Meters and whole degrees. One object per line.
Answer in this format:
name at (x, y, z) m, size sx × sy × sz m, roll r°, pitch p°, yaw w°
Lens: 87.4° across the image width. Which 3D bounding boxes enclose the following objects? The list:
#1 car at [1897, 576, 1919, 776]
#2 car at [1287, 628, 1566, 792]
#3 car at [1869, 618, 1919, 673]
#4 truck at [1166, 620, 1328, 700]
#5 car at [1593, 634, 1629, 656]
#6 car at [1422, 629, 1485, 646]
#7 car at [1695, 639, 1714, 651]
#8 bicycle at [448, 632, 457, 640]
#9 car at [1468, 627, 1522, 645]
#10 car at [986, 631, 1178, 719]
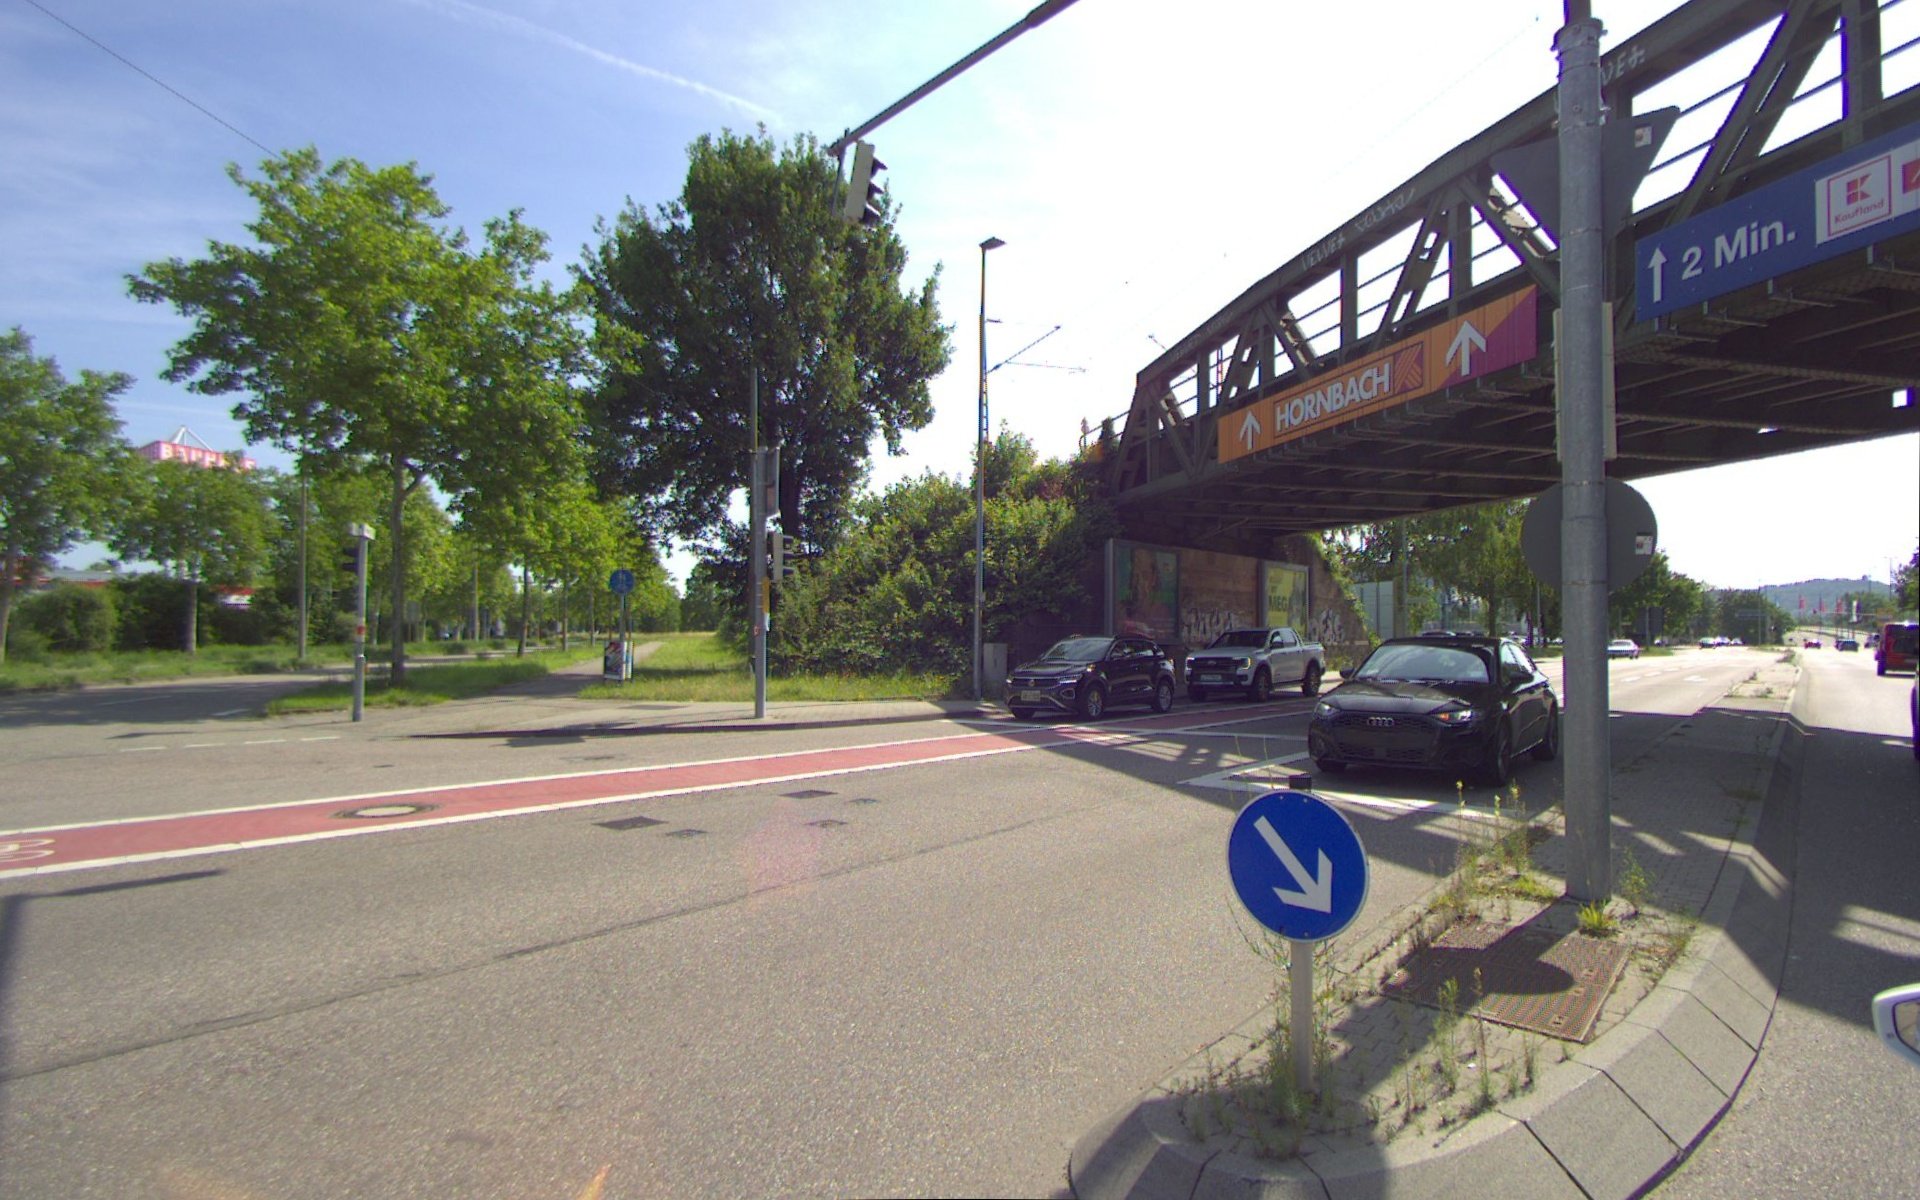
car at (10.790, 0.775, 9.962) m, size 1.919 × 1.997 × 4.998 m, roll 0°, pitch -1°, yaw 40°
car at (5.219, 1.033, 10.913) m, size 1.745 × 1.413 × 4.316 m, roll -1°, pitch -2°, yaw 39°
car at (35.712, 1.685, 37.794) m, size 1.945 × 1.950 × 4.540 m, roll -1°, pitch -2°, yaw 39°
truck at (7.495, 1.508, 25.848) m, size 2.003 × 1.843 × 5.300 m, roll -4°, pitch -4°, yaw 40°
car at (47.739, 3.286, 73.645) m, size 1.944 × 1.512 × 4.066 m, roll -1°, pitch -2°, yaw 37°
car at (39.063, 2.961, 79.539) m, size 4.181 × 1.362 × 1.994 m, roll -1°, pitch -2°, yaw 35°
car at (99.682, 6.039, 134.465) m, size 1.944 × 1.512 × 4.066 m, roll -1°, pitch -2°, yaw 37°
bicycle at (-77.445, 5.528, 153.293) m, size 0.676 × 1.254 × 1.929 m, roll 1°, pitch -1°, yaw -14°
car at (48.734, 3.290, 91.533) m, size 4.181 × 1.567 × 1.860 m, roll -1°, pitch -2°, yaw 35°
car at (2.437, 1.388, 19.365) m, size 1.796 × 1.500 × 3.925 m, roll -4°, pitch -4°, yaw 40°
